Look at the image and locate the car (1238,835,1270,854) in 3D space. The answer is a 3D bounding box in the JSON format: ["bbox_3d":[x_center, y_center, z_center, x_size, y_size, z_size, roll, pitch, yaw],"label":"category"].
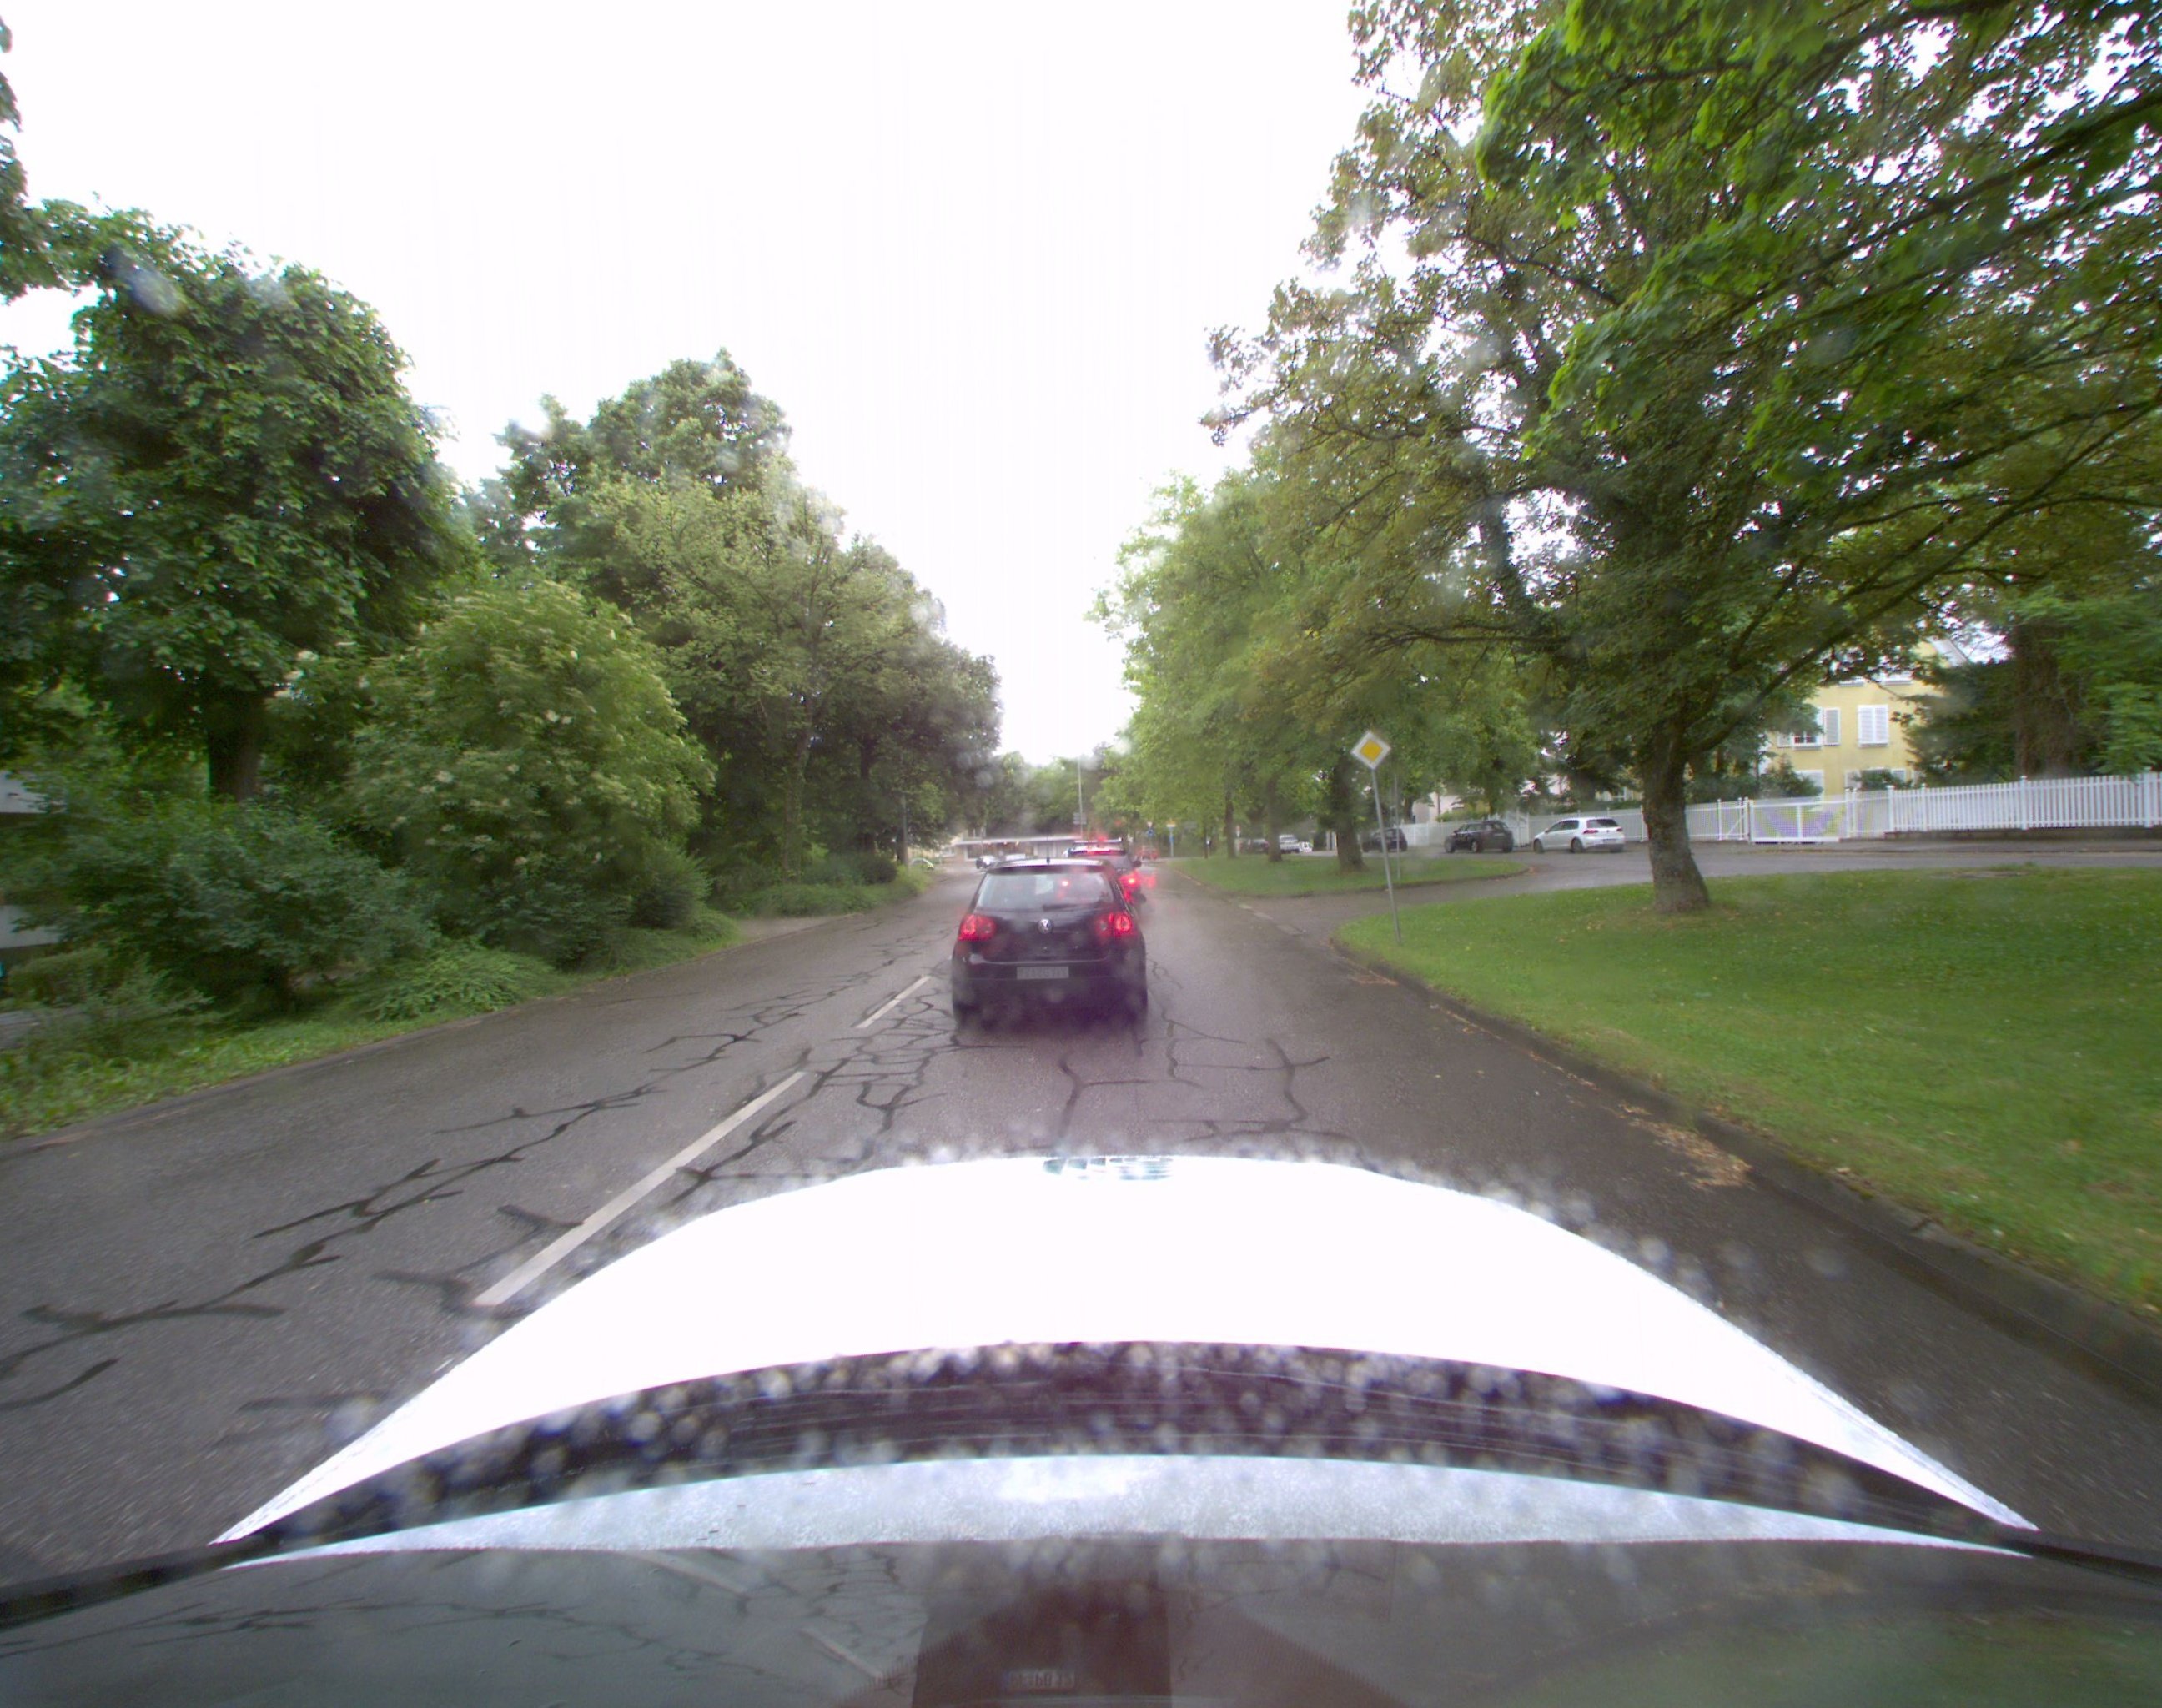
[{"bbox_3d":[13.920,-0.783,65.630,1.796,1.385,4.002,-4,1,2],"label":"car"}]

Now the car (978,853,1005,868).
[{"bbox_3d":[-9.584,0.711,86.859,1.804,1.393,3.950,-5,0,-21],"label":"car"}]

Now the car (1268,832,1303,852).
[{"bbox_3d":[16.453,-0.954,65.646,1.796,1.406,4.002,-4,1,2],"label":"car"}]

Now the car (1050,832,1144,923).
[{"bbox_3d":[0.409,0.482,18.619,1.848,1.784,4.002,-3,0,2],"label":"car"}]

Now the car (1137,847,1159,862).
[{"bbox_3d":[7.632,0.080,93.288,1.705,1.513,3.664,-3,0,-7],"label":"car"}]

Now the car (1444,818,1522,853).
[{"bbox_3d":[19.935,-0.926,40.571,1.796,1.529,4.111,-4,1,-1],"label":"car"}]

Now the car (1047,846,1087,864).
[{"bbox_3d":[-1.425,0.101,83.337,3.769,1.618,1.782,-2,0,9],"label":"car"}]

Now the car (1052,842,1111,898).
[{"bbox_3d":[0.087,0.551,29.107,1.848,1.784,4.002,-3,0,2],"label":"car"}]

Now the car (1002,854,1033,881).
[{"bbox_3d":[-3.876,0.814,50.222,1.603,1.427,4.007,-3,1,-1],"label":"car"}]

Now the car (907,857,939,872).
[{"bbox_3d":[-16.237,1.081,83.685,3.121,1.310,1.534,-3,0,-11],"label":"car"}]

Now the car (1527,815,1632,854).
[{"bbox_3d":[20.150,-0.784,33.120,1.612,1.409,4.006,-4,1,-3],"label":"car"}]

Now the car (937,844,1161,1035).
[{"bbox_3d":[-0.180,0.702,8.490,1.791,1.515,3.756,-1,0,2],"label":"car"}]

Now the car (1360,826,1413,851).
[{"bbox_3d":[19.729,-1.003,52.715,1.796,1.411,4.111,-4,1,-1],"label":"car"}]
